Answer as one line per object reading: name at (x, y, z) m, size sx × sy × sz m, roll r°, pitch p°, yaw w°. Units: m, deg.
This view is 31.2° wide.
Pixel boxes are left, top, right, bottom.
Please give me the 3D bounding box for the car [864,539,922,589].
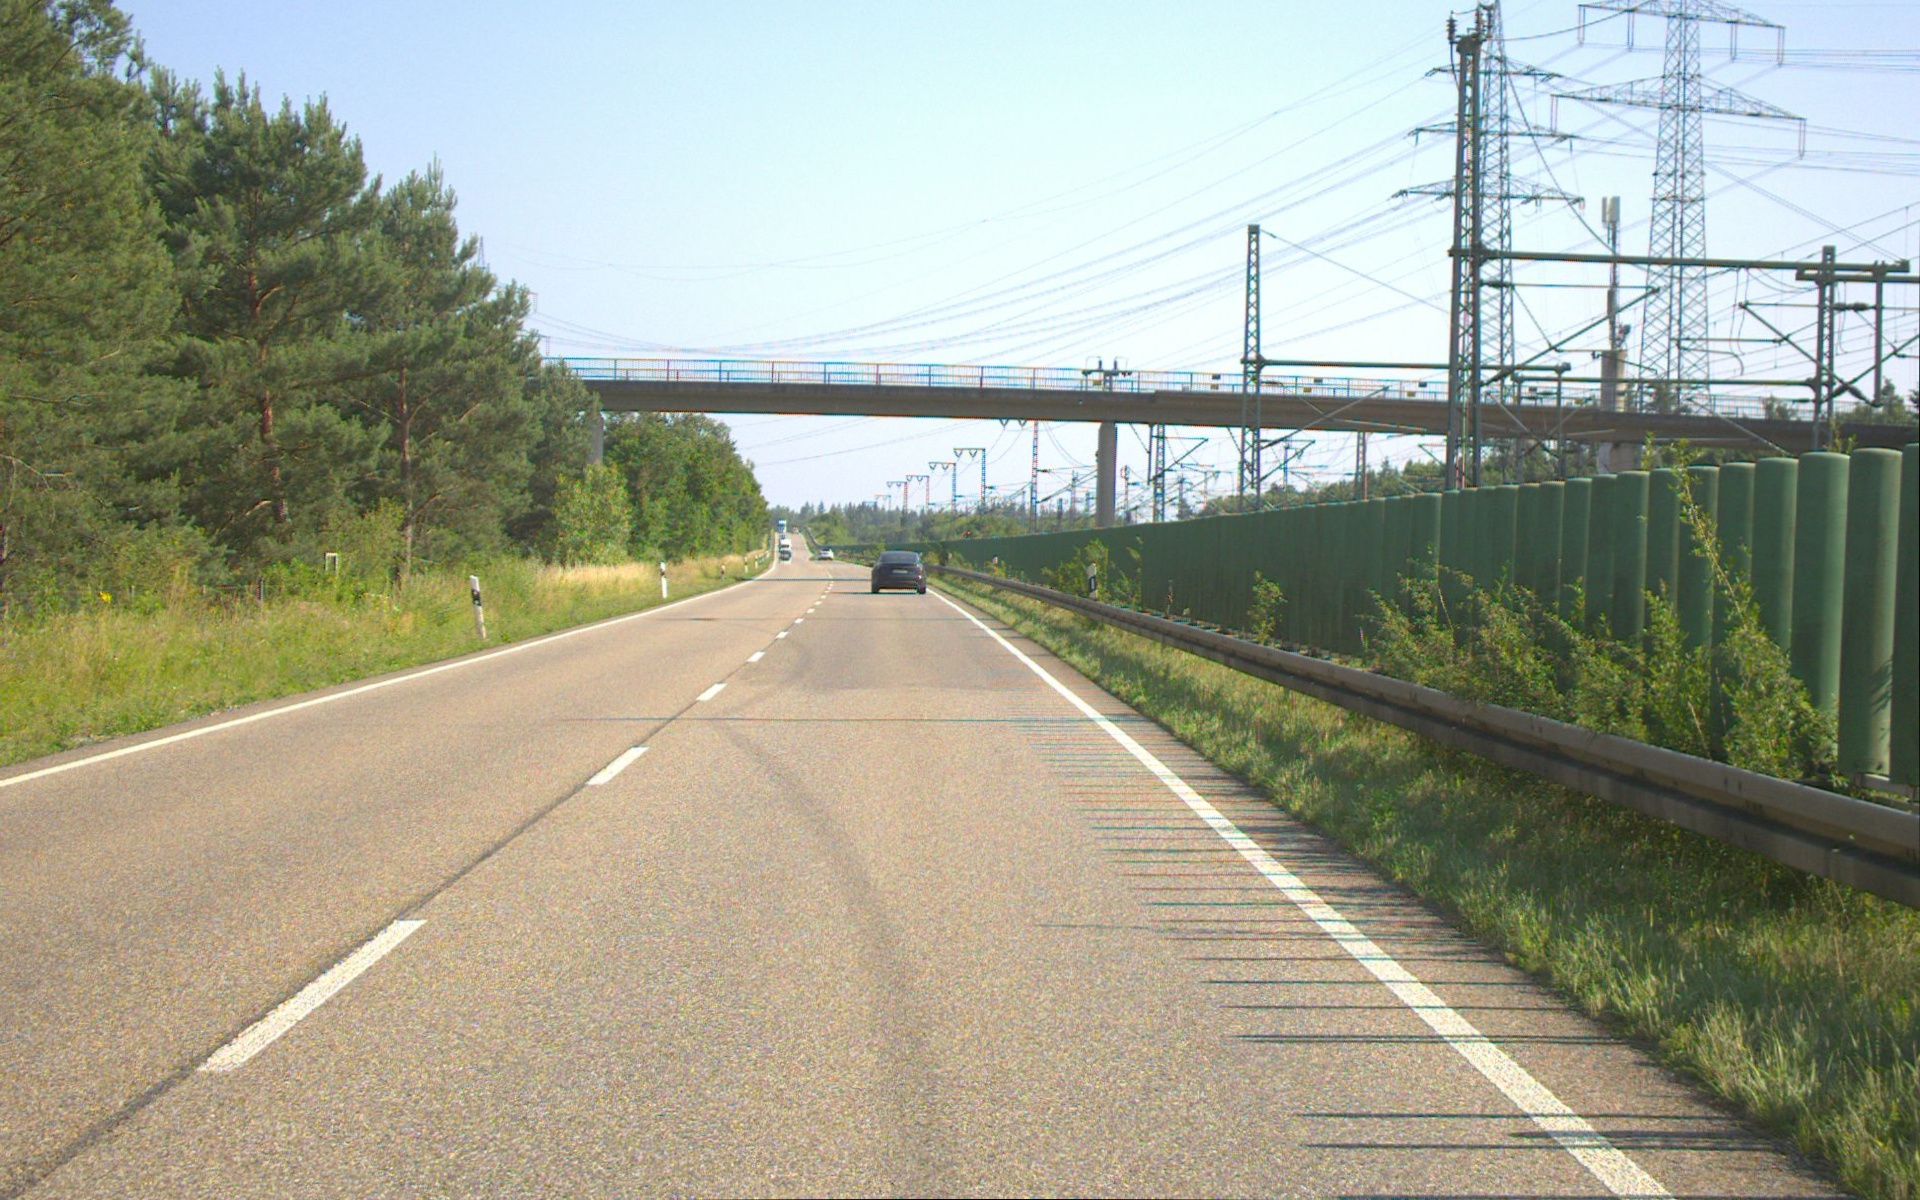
car at (-2.310, -1.239, 117.356) m, size 1.858 × 1.636 × 4.001 m, roll -1°, pitch 1°, yaw -3°
